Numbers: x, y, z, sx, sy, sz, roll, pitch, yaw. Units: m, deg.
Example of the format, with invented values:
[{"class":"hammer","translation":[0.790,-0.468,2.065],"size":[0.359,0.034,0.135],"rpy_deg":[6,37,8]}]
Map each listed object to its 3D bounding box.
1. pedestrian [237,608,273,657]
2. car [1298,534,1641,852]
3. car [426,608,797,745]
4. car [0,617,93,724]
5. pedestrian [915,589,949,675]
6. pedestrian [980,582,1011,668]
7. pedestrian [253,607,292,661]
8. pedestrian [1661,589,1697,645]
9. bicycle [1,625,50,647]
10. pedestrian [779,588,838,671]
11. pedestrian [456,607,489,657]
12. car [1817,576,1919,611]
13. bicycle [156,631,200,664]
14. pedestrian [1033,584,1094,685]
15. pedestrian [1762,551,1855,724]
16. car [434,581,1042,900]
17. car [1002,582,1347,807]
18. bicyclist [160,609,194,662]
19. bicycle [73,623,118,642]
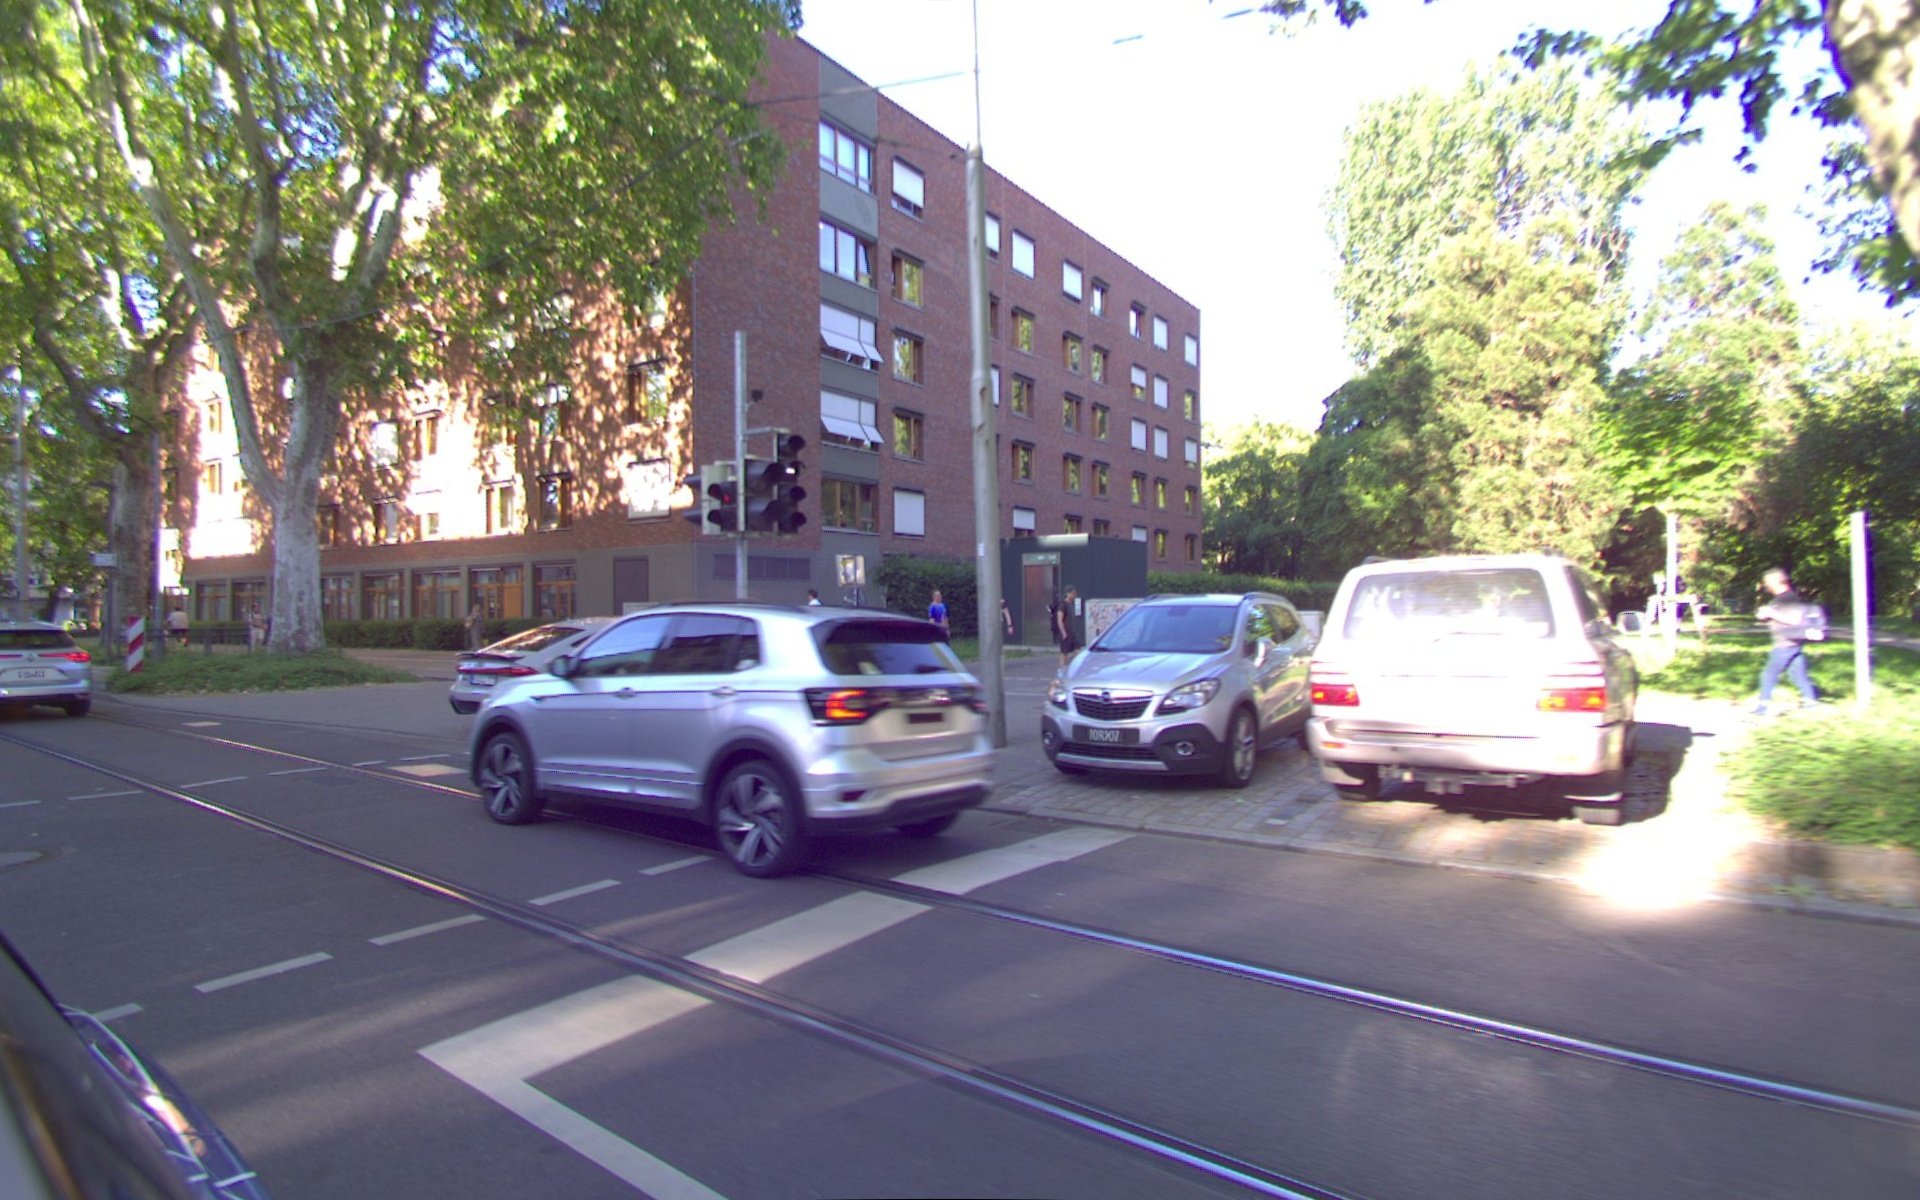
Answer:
[{"class":"pedestrian","translation":[-25.567,1.165,36.680],"size":[0.970,1.757,0.757],"rpy_deg":[-1,0,35]},{"class":"car","translation":[4.375,0.513,8.327],"size":[1.933,1.848,4.534],"rpy_deg":[-1,0,33]},{"class":"car","translation":[-4.613,0.907,14.182],"size":[1.949,1.471,4.726],"rpy_deg":[-1,0,33]},{"class":"car","translation":[-15.035,1.019,15.471],"size":[4.195,1.472,1.760],"rpy_deg":[-1,0,36]},{"class":"pedestrian","translation":[-0.553,0.628,20.274],"size":[0.556,1.671,0.695],"rpy_deg":[-1,0,8]},{"class":"pedestrian","translation":[0.719,0.505,20.517],"size":[0.584,1.718,0.532],"rpy_deg":[-1,0,3]},{"class":"pedestrian","translation":[-21.986,1.067,32.382],"size":[0.967,1.685,0.731],"rpy_deg":[-1,0,36]},{"class":"pedestrian","translation":[22.242,0.520,31.301],"size":[0.767,1.686,0.713],"rpy_deg":[-1,0,-41]},{"class":"bicycle","translation":[-56.046,2.130,60.708],"size":[2.069,1.198,0.882],"rpy_deg":[-1,0,-39]},{"class":"pedestrian","translation":[-3.293,0.626,22.002],"size":[0.912,1.750,0.837],"rpy_deg":[-1,0,30]},{"class":"pedestrian","translation":[-15.643,1.012,32.481],"size":[0.714,1.585,0.658],"rpy_deg":[-1,0,35]},{"class":"car","translation":[44.674,-0.295,49.547],"size":[4.102,1.630,1.872],"rpy_deg":[-1,0,40]},{"class":"bicycle","translation":[-27.098,1.635,35.058],"size":[1.836,1.071,0.709],"rpy_deg":[-1,0,36]},{"class":"pedestrian","translation":[1.794,0.577,17.520],"size":[0.777,1.686,0.703],"rpy_deg":[-1,0,34]},{"class":"pedestrian","translation":[9.339,0.391,11.158],"size":[0.751,1.823,0.637],"rpy_deg":[-1,0,40]},{"class":"car","translation":[-1.654,0.737,6.963],"size":[4.107,1.580,1.800],"rpy_deg":[-1,-2,35]},{"class":"car","translation":[2.274,0.684,9.766],"size":[1.897,1.659,4.106],"rpy_deg":[-1,0,33]},{"class":"bicyclist","translation":[-27.139,1.232,35.084],"size":[0.837,1.801,0.693],"rpy_deg":[-1,0,36]},{"class":"bicycle","translation":[-54.068,2.013,63.303],"size":[2.008,1.102,0.822],"rpy_deg":[-1,0,-3]}]
